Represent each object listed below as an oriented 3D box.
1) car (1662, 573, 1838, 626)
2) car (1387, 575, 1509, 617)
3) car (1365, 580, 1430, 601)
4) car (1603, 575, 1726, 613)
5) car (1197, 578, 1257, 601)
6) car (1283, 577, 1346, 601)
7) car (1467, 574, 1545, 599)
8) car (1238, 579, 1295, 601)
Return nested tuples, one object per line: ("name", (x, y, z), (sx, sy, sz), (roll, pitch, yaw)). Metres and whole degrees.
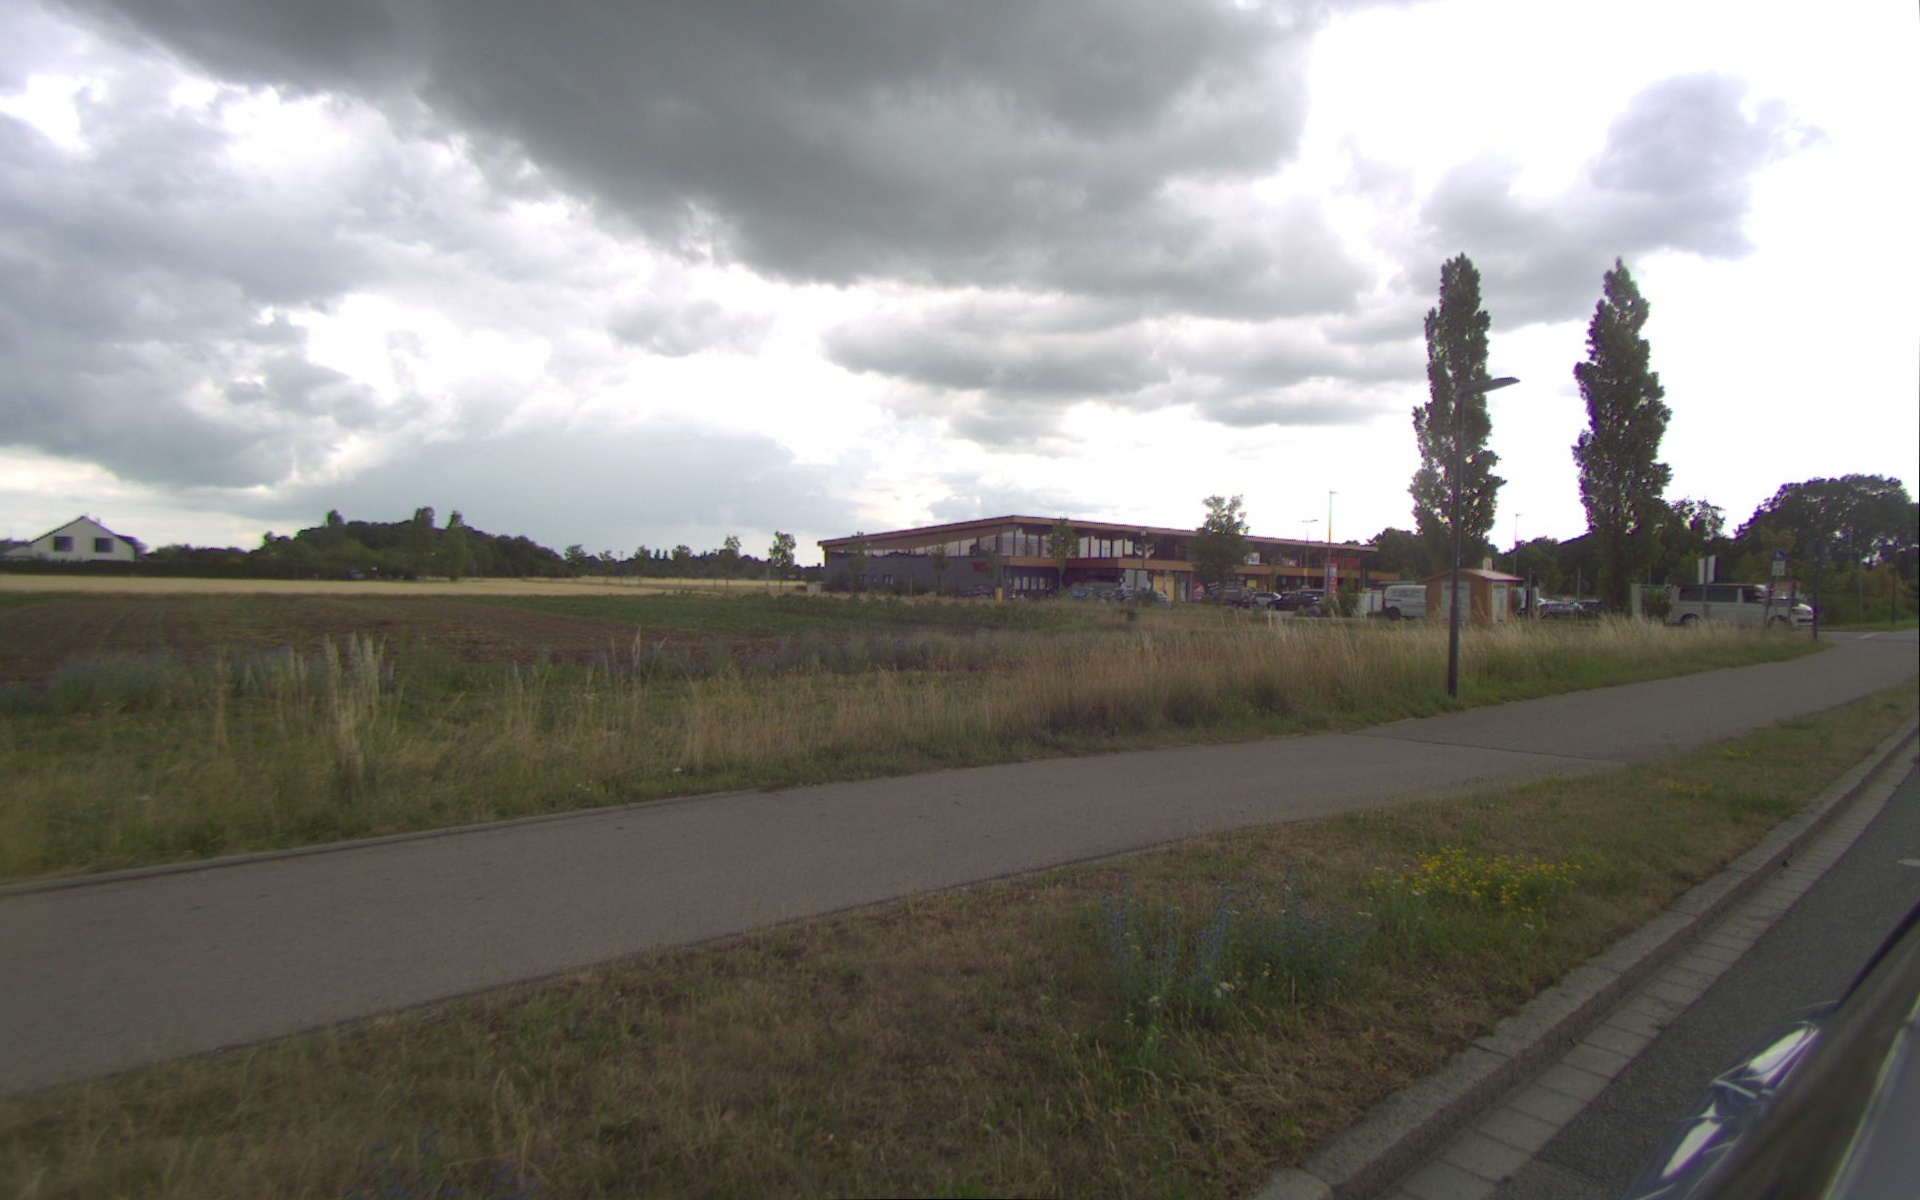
("car", (32.581, -0.027, 41.897), (2.516, 2.039, 5.312), (-1, 0, -39))
("car", (25.011, -0.202, 52.018), (1.964, 2.039, 5.312), (-1, 0, -39))
("car", (42.666, -0.919, 98.704), (5.510, 2.039, 1.968), (0, 0, 44))
("car", (39.885, -0.342, 57.406), (5.510, 2.039, 1.968), (0, 0, 44))
("car", (24.155, -0.947, 91.618), (4.840, 2.039, 1.969), (0, 0, 43))
("car", (31.207, -0.926, 89.123), (4.840, 2.039, 1.969), (0, 0, 43))
("car", (46.410, -1.105, 86.104), (5.510, 2.039, 1.968), (0, 0, 44))
("car", (29.132, -0.953, 96.217), (4.840, 2.039, 1.969), (0, 0, 43))
